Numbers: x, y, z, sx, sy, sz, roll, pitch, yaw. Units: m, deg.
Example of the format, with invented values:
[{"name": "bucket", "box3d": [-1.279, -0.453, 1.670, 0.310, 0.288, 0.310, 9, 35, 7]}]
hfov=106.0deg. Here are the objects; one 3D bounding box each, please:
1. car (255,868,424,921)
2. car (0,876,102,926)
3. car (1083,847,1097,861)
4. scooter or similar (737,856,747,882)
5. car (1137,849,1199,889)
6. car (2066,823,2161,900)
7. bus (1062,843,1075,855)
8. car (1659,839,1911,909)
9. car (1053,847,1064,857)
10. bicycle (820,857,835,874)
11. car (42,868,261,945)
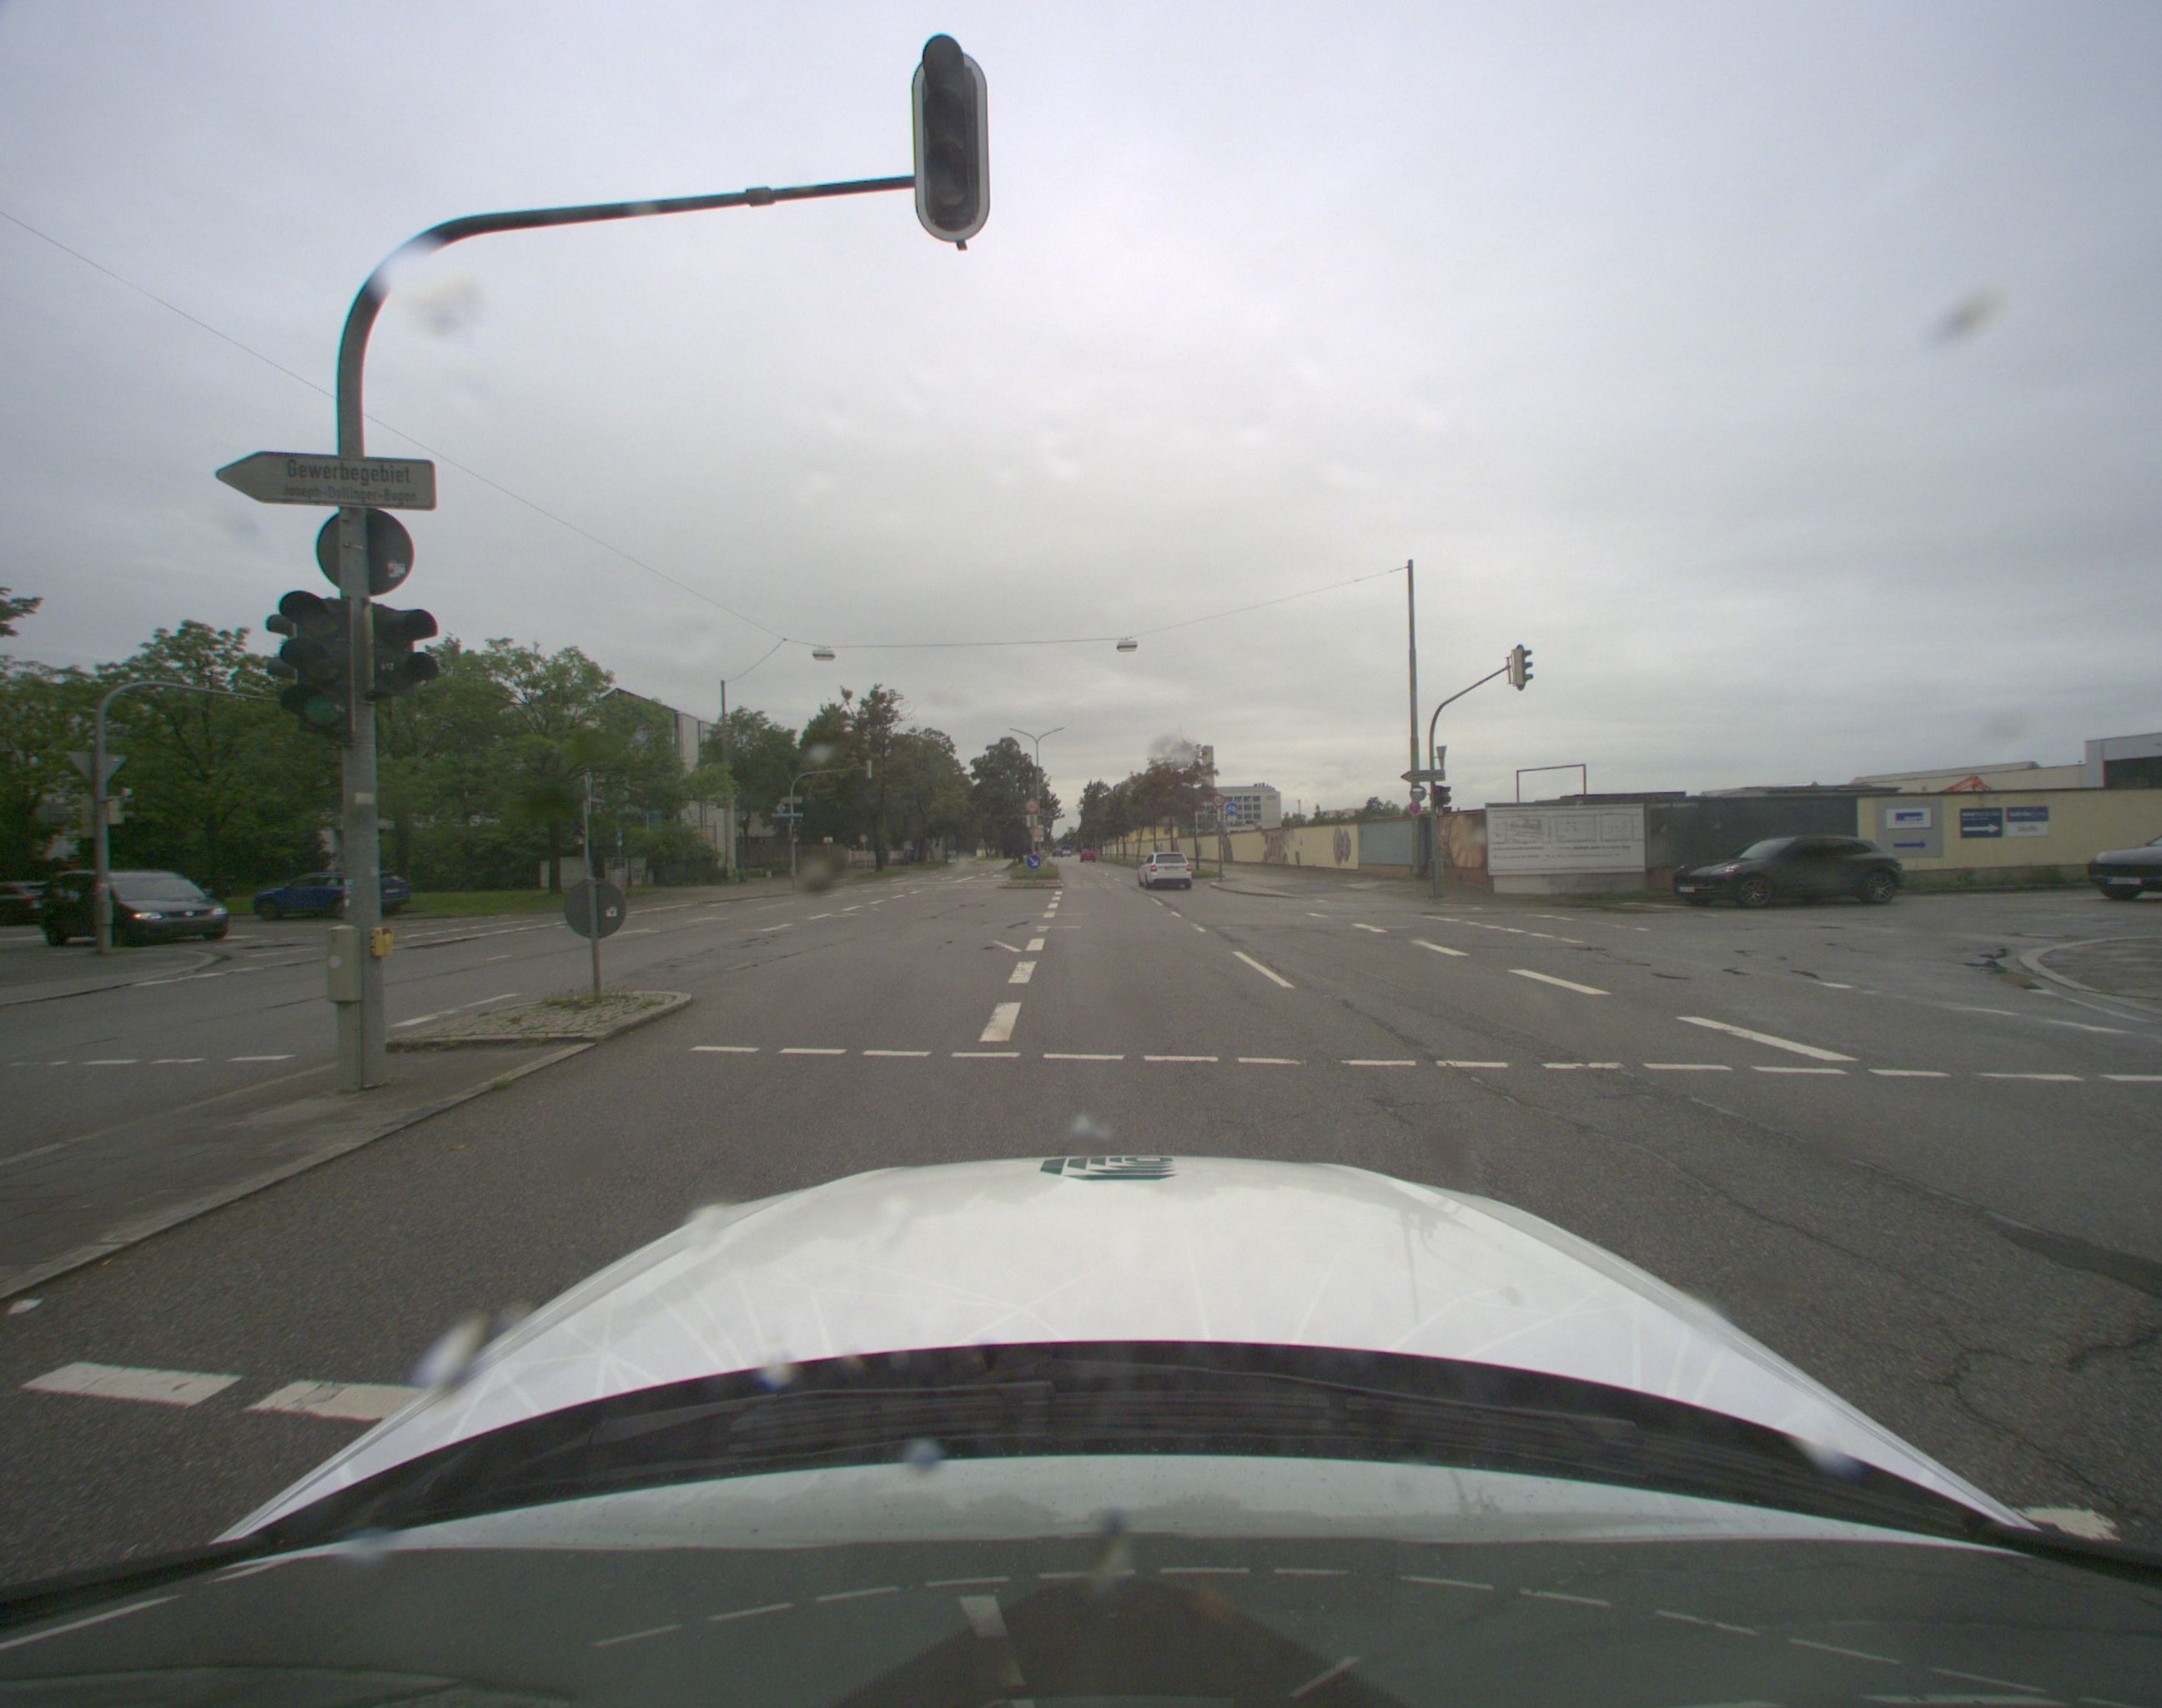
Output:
[{"name": "car", "box3d": [-26.194, 1.416, 28.861, 4.246, 1.574, 2.004, -2, 2, 6]}, {"name": "car", "box3d": [-38.298, 1.713, 29.183, 4.138, 1.574, 1.763, -2, 2, 0]}, {"name": "car", "box3d": [1.152, 0.040, 101.096, 1.481, 1.715, 3.547, 0, 0, -3]}, {"name": "scooter or similar", "box3d": [-19.176, 0.859, 46.113, 0.371, 1.424, 1.397, 0, 0, -17]}, {"name": "car", "box3d": [3.418, 0.553, 32.788, 1.873, 1.468, 4.498, 0, 0, -2]}, {"name": "car", "box3d": [24.107, 0.086, 17.028, 4.602, 1.532, 2.000, -2, 0, 0]}, {"name": "bus", "box3d": [-3.528, -1.348, 228.475, 3.214, 3.127, 10.333, 0, 0, -3]}, {"name": "car", "box3d": [16.527, 0.440, 19.305, 4.236, 1.428, 2.000, -2, 0, 0]}, {"name": "car", "box3d": [-4.453, -0.410, 160.652, 2.079, 1.866, 4.381, 0, 0, -3]}, {"name": "bicycle", "box3d": [-20.364, 0.898, 65.385, 0.581, 1.295, 2.450, 0, 0, -4]}, {"name": "car", "box3d": [-23.339, 1.305, 20.461, 4.735, 1.723, 2.010, -2, -1, 20]}]
